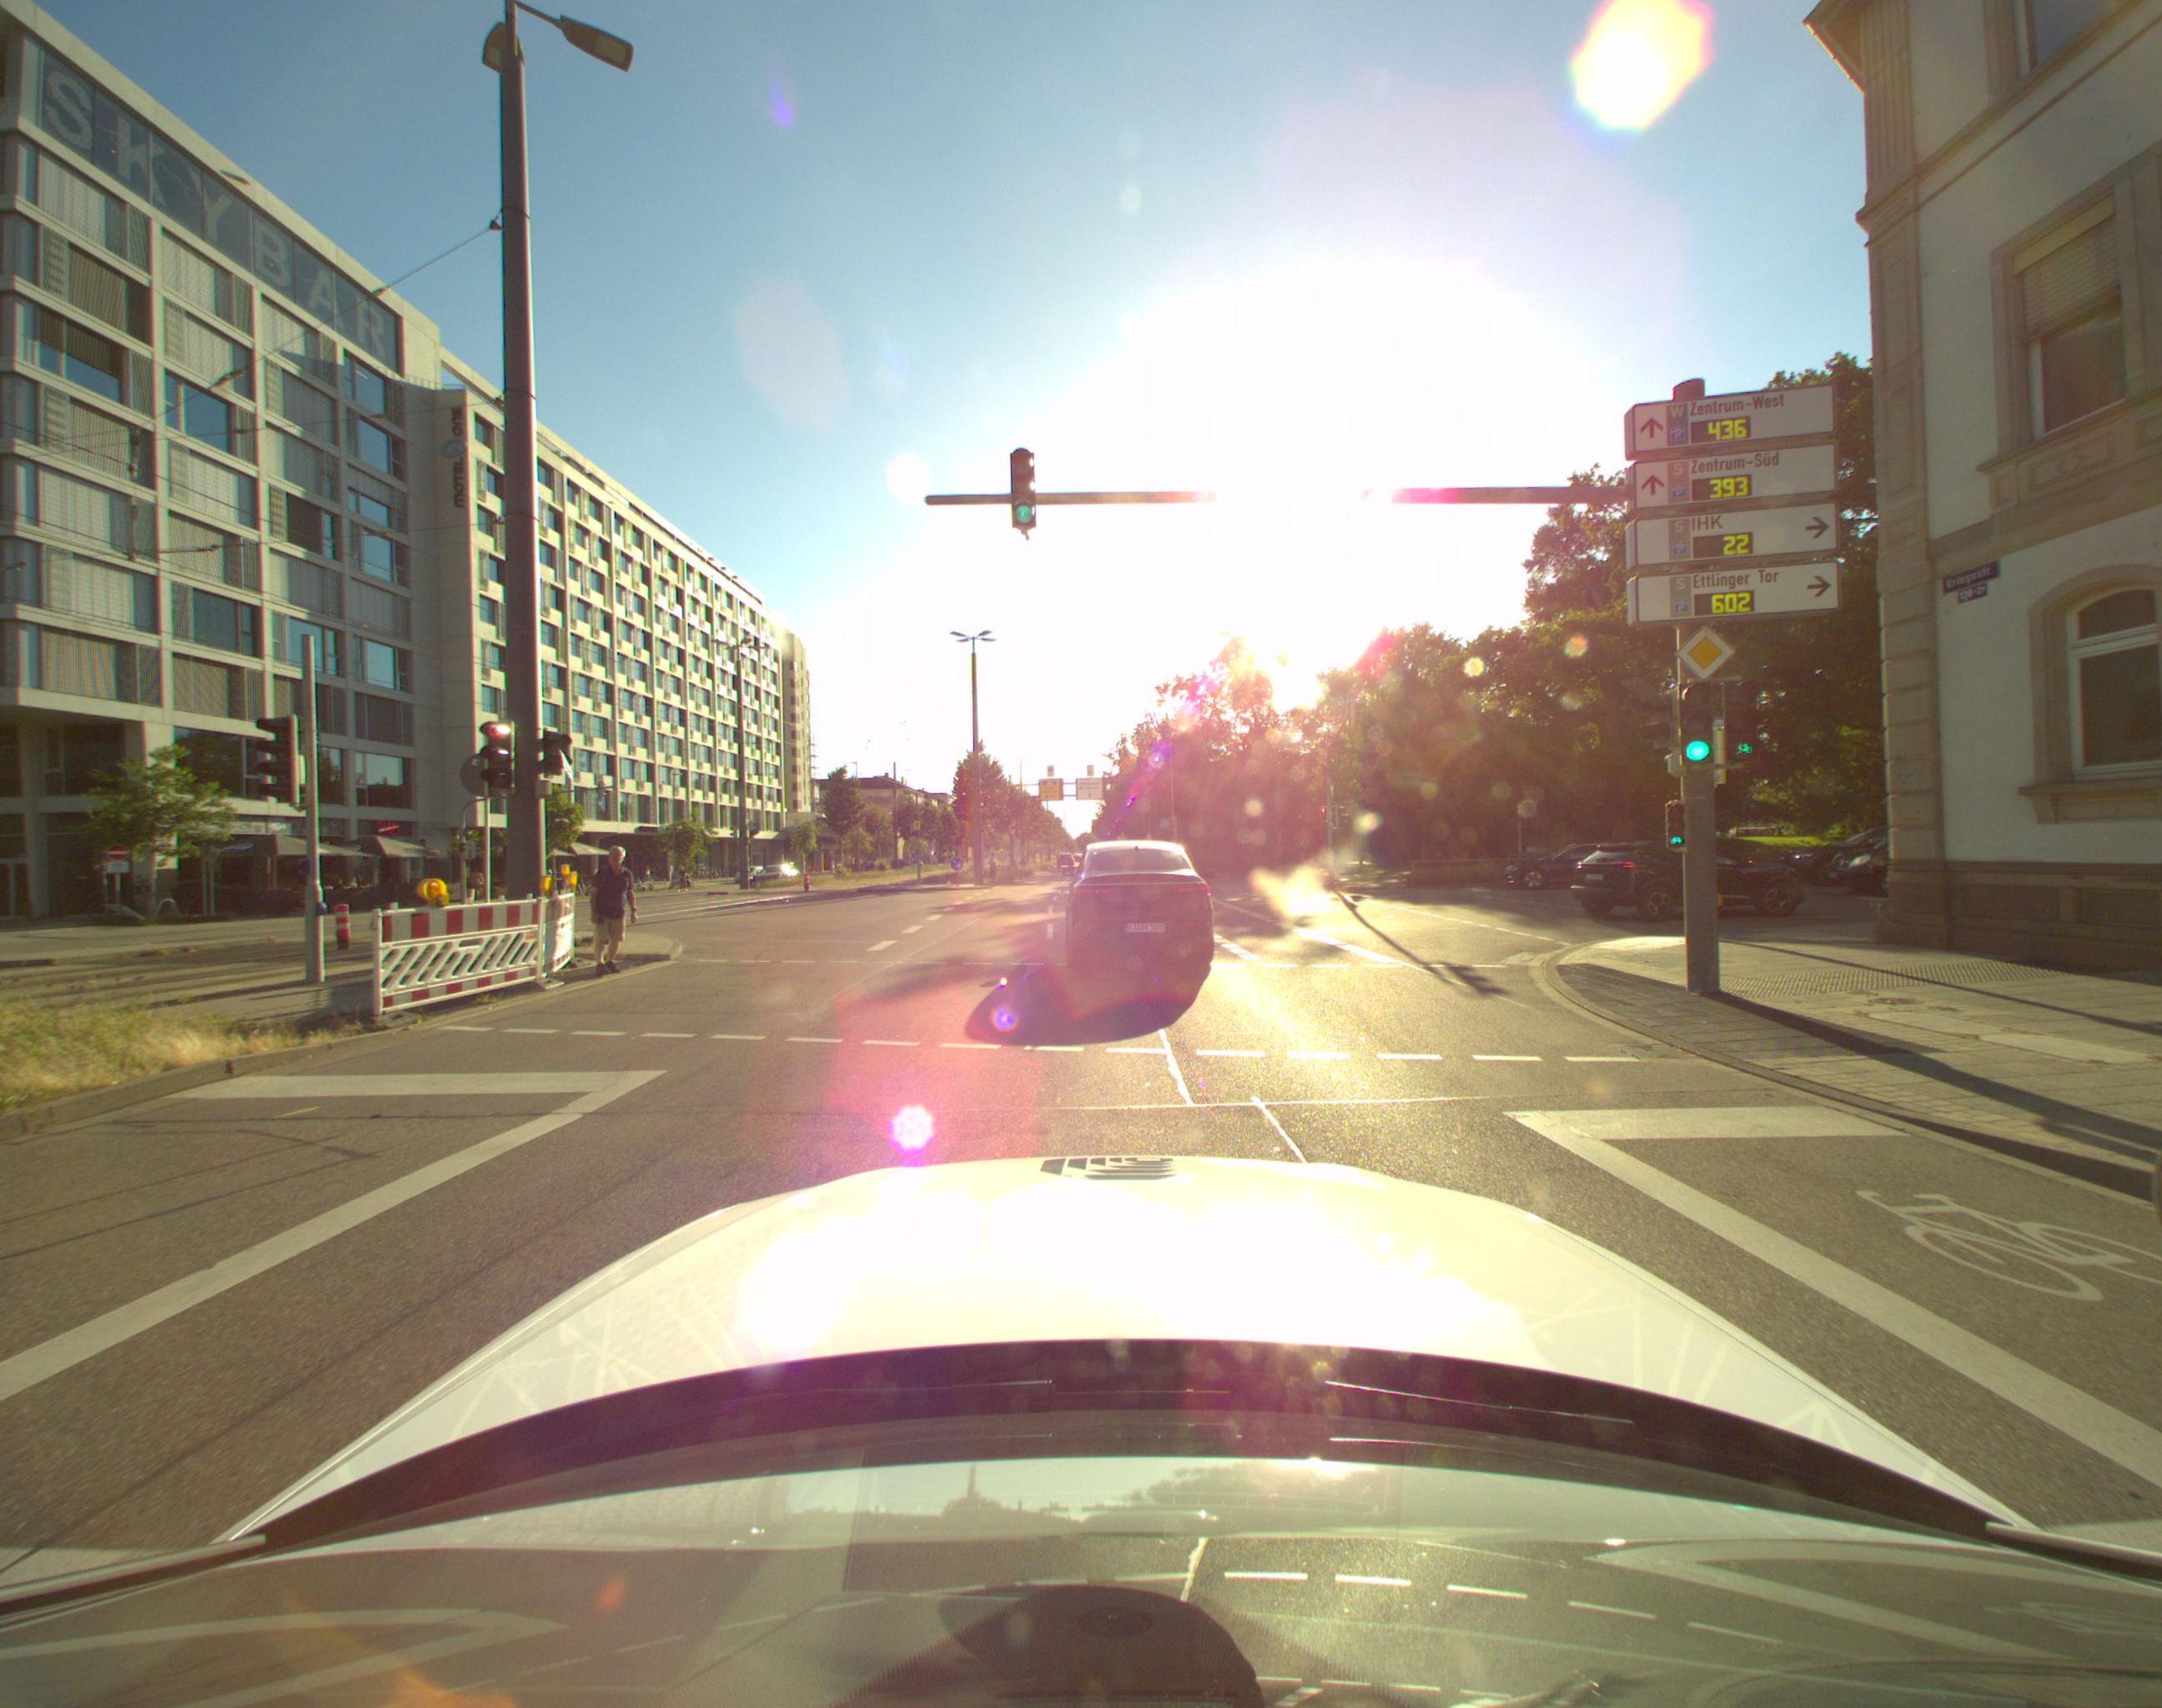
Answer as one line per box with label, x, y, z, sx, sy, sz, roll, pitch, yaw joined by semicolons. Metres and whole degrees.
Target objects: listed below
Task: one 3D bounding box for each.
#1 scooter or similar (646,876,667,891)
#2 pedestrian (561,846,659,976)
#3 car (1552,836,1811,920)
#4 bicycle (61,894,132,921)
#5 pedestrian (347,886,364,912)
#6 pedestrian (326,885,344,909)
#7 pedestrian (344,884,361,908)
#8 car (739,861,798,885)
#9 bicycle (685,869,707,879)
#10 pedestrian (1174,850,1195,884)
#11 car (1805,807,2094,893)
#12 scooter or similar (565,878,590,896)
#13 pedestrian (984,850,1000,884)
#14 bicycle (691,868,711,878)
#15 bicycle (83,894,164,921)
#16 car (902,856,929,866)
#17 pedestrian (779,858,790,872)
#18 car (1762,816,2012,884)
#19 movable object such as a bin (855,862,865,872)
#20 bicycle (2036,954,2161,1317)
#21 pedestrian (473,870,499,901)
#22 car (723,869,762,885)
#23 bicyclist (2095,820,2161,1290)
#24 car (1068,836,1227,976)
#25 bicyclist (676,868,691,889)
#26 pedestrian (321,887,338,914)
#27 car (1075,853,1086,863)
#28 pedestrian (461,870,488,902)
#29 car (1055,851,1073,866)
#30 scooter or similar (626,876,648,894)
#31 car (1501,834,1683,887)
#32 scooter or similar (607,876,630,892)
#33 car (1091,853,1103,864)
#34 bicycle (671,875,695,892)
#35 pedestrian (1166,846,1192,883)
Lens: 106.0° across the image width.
scooter or similar;-30.337;2.084;58.264;1.239;1.019;0.435;-2;0;1
pedestrian;-6.343;0.733;10.972;0.915;1.649;0.770;-2;0;33
car;12.095;0.448;16.559;4.041;1.527;1.899;-1;0;-7
bicycle;-39.725;2.148;32.904;0.534;0.936;1.901;-2;0;0
pedestrian;-34.228;2.139;38.430;0.363;1.194;0.432;-2;0;-2
pedestrian;-38.683;2.223;42.218;0.430;1.222;0.497;-2;0;1
pedestrian;-38.639;2.222;43.197;0.430;1.222;0.497;-2;0;1
car;-20.034;1.172;52.482;1.885;1.343;4.850;-2;0;0
bicycle;-37.358;1.937;79.092;1.802;0.905;0.511;-2;0;-6
pedestrian;5.156;0.645;40.758;0.766;1.636;0.767;-4;0;-9
car;19.975;-0.078;19.022;4.195;1.804;1.960;-2;2;25
scooter or similar;-30.935;2.022;50.011;1.239;1.006;0.406;-2;0;1
pedestrian;-4.590;0.675;42.038;0.595;1.699;0.715;-2;0;6
bicycle;-37.573;1.855;80.609;1.746;0.966;0.483;0;0;-1
bicycle;-38.780;2.143;33.027;0.616;0.936;2.216;-2;0;0
car;-28.620;1.183;140.817;4.021;1.563;1.976;0;0;-41
pedestrian;-34.947;1.263;96.075;0.840;1.653;0.970;-2;0;2
car;21.881;-0.062;22.404;4.480;1.652;1.915;-2;-1;29
movable object such as a bin;-29.240;1.709;107.779;0.851;1.280;0.943;-2;0;15
bicycle;3.672;0.920;1.988;0.519;1.097;1.843;-2;0;0
pedestrian;-34.042;1.803;46.595;0.864;1.721;0.806;-2;0;10
car;-30.276;2.014;72.937;1.750;1.328;4.001;0;0;1
bicyclist;3.684;0.635;2.189;0.550;1.491;1.081;-2;0;0
car;0.816;0.626;12.271;1.988;1.734;3.999;-1;1;-1
bicyclist;-28.028;1.722;57.398;0.622;1.465;0.851;-2;0;1
pedestrian;-34.673;2.143;37.560;0.363;1.194;0.432;-2;0;-2
car;-0.092;0.678;138.657;1.880;1.580;4.000;-1;1;0
pedestrian;-34.130;1.805;45.801;0.864;1.721;0.806;-2;0;10
car;-1.930;0.500;92.374;1.880;1.580;4.000;-1;1;0
scooter or similar;-30.277;2.104;55.485;1.239;1.172;0.406;-2;0;1
car;15.652;0.228;25.259;4.545;1.474;1.914;-2;-1;25
scooter or similar;-30.481;1.993;53.720;1.239;1.019;0.435;-2;0;1
car;2.634;0.698;131.622;1.880;1.580;4.000;-1;1;0
bicycle;-28.021;2.058;57.379;0.622;1.067;2.078;-2;0;1
pedestrian;4.987;0.546;41.540;0.863;1.802;0.898;-4;0;-34
